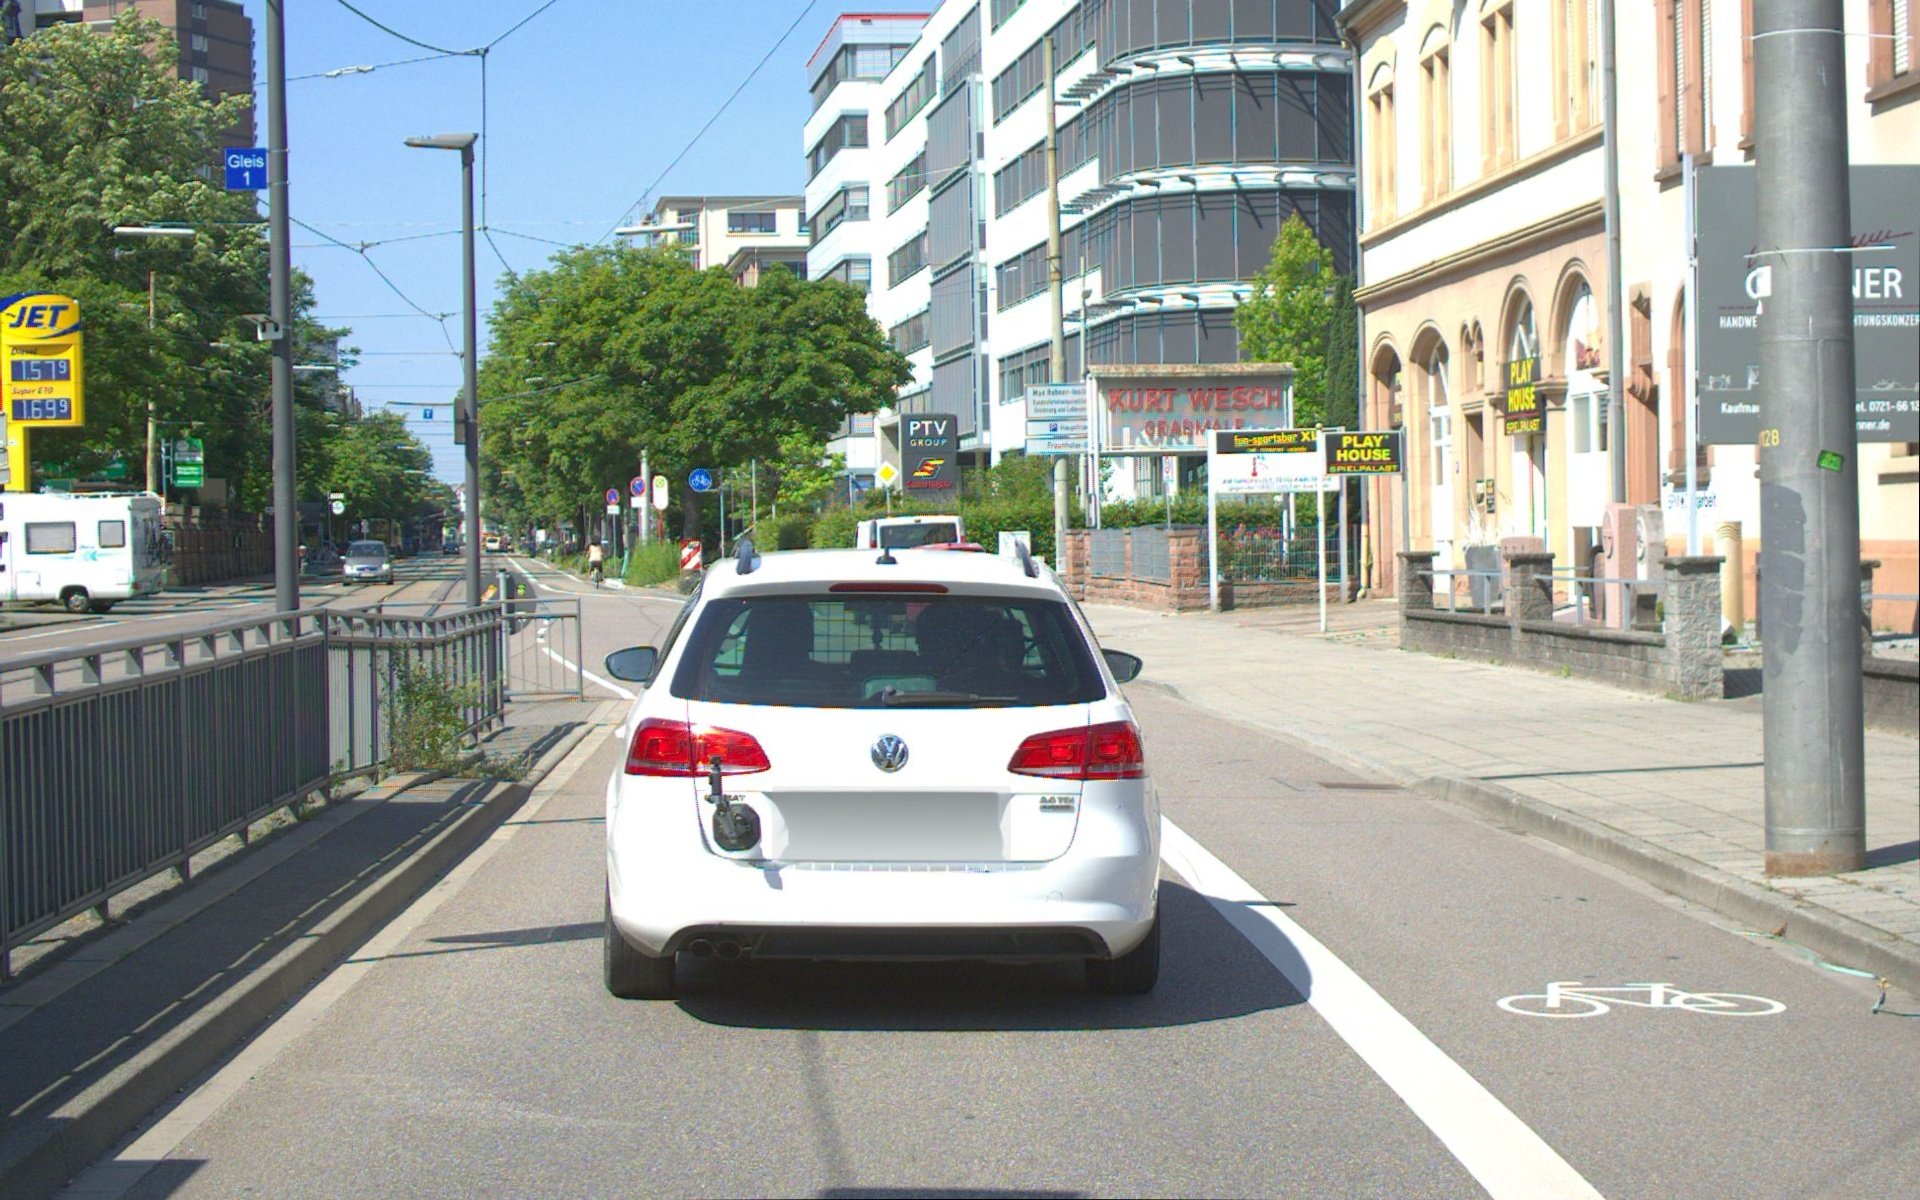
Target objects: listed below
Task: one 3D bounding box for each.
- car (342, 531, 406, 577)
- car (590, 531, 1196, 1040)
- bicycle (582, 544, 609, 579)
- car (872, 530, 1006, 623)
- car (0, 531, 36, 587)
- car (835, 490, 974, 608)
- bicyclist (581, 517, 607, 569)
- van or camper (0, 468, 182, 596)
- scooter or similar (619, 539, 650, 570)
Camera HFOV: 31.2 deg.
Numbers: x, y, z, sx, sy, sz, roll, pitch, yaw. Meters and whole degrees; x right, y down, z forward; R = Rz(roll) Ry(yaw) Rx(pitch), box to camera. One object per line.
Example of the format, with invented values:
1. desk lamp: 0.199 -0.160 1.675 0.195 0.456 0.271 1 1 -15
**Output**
1. car: -21.205 -1.652 124.441 1.746 1.566 3.892 -2 1 -2
2. car: -0.362 0.492 12.156 1.753 1.437 4.413 0 1 -4
3. bicycle: -11.499 -1.229 108.440 0.811 1.074 2.012 -1 1 -7
4. car: -0.394 -0.428 58.663 1.721 1.438 4.313 -3 1 -7
5. car: -29.361 -1.161 99.953 1.947 1.619 4.569 0 1 37
6. car: -1.094 -0.966 64.925 1.976 2.047 5.192 -3 1 -7
7. bicyclist: -11.569 -1.802 108.648 0.785 1.623 0.738 -2 1 -7
8. van or camper: -22.887 -1.715 84.717 6.691 2.957 2.616 2 1 3
9. scooter or similar: -12.330 -1.733 130.358 1.143 1.150 0.493 -1 1 -2
